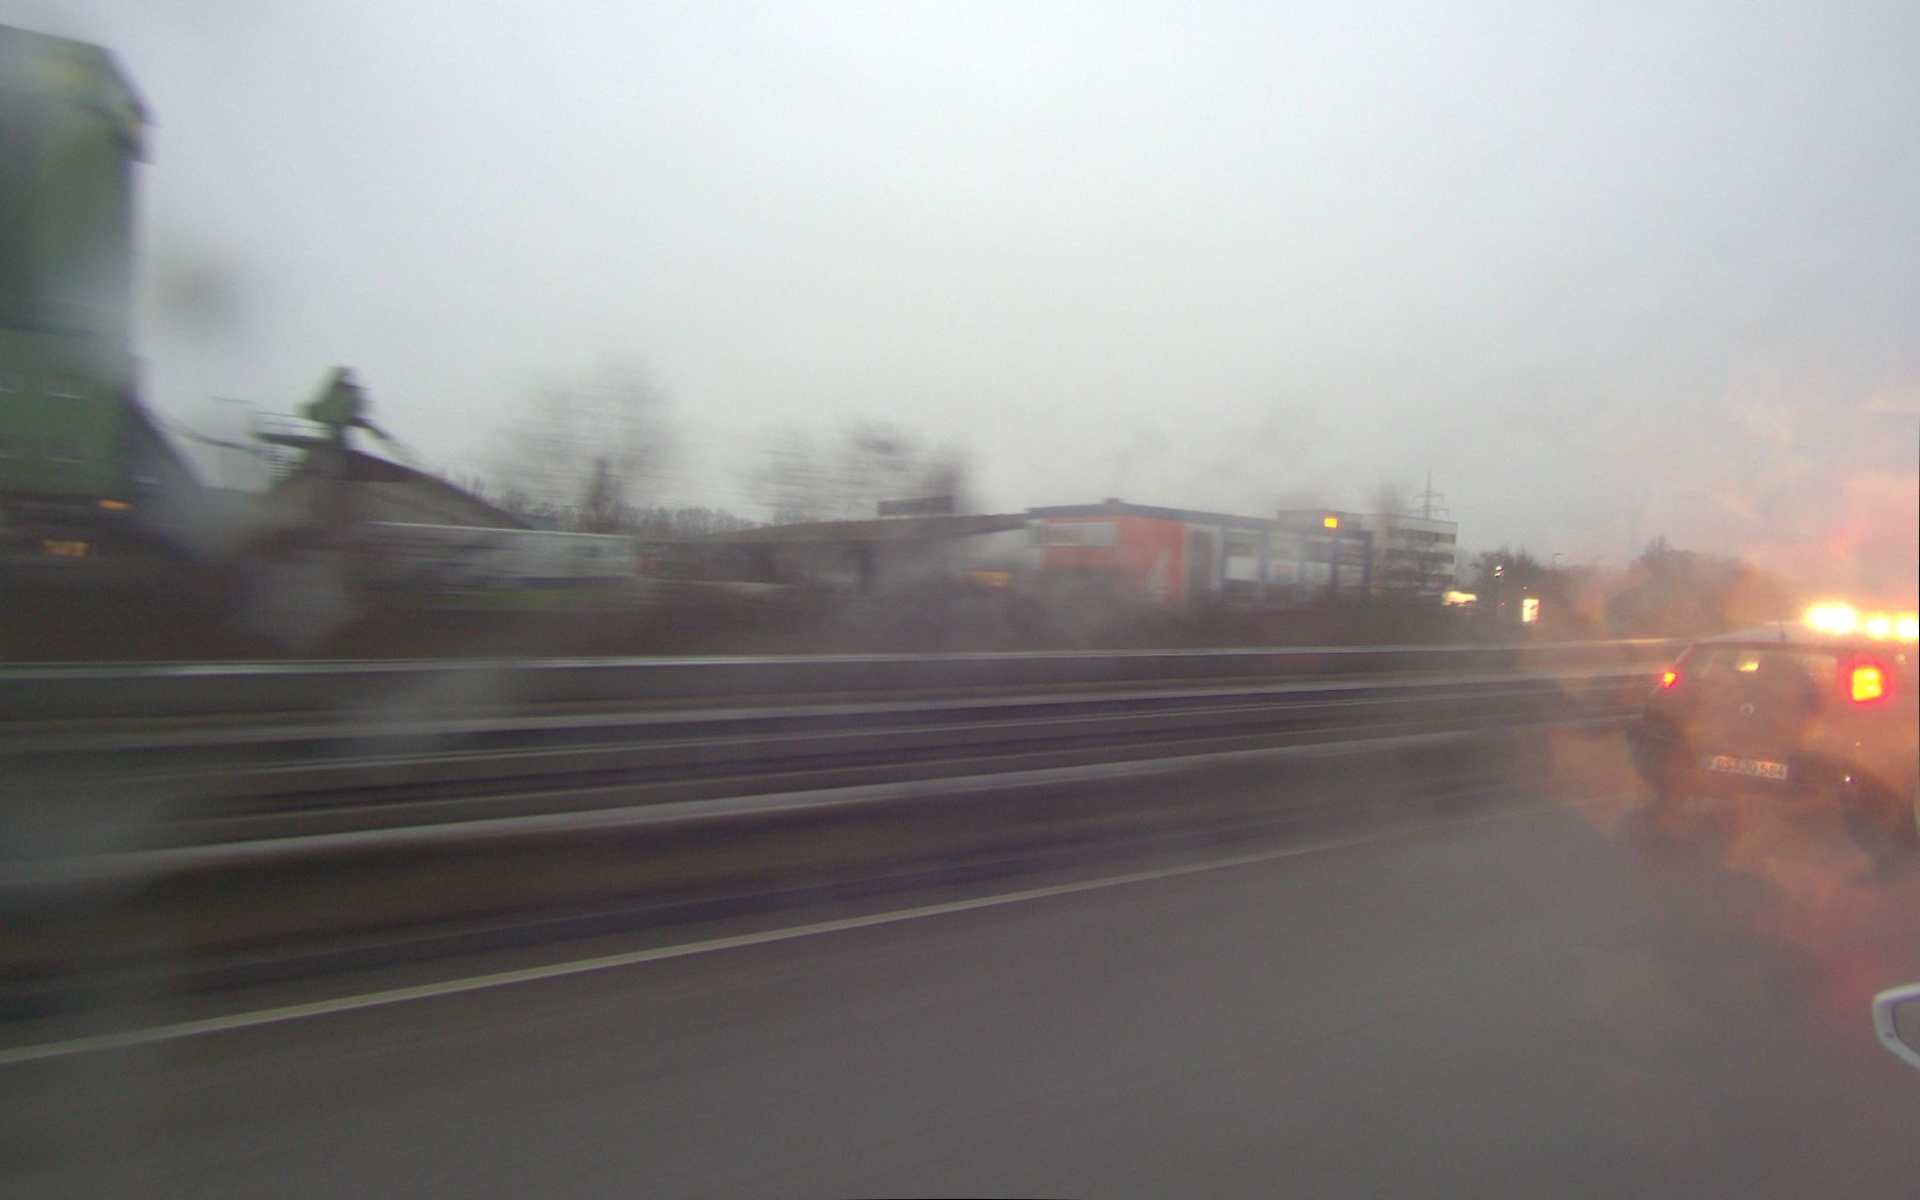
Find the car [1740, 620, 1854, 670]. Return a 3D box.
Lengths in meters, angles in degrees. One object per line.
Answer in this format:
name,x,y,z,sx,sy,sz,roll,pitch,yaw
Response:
car,30.663,1.614,36.771,4.634,1.706,1.785,1,-1,-31

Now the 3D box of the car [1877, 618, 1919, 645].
car,62.506,2.075,66.458,4.387,1.695,1.979,1,0,-37

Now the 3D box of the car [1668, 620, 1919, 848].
car,7.511,0.959,8.236,3.963,1.410,1.613,3,1,-37

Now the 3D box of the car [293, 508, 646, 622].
car,-15.465,-0.932,32.557,9.805,3.253,3.183,1,-1,-25
